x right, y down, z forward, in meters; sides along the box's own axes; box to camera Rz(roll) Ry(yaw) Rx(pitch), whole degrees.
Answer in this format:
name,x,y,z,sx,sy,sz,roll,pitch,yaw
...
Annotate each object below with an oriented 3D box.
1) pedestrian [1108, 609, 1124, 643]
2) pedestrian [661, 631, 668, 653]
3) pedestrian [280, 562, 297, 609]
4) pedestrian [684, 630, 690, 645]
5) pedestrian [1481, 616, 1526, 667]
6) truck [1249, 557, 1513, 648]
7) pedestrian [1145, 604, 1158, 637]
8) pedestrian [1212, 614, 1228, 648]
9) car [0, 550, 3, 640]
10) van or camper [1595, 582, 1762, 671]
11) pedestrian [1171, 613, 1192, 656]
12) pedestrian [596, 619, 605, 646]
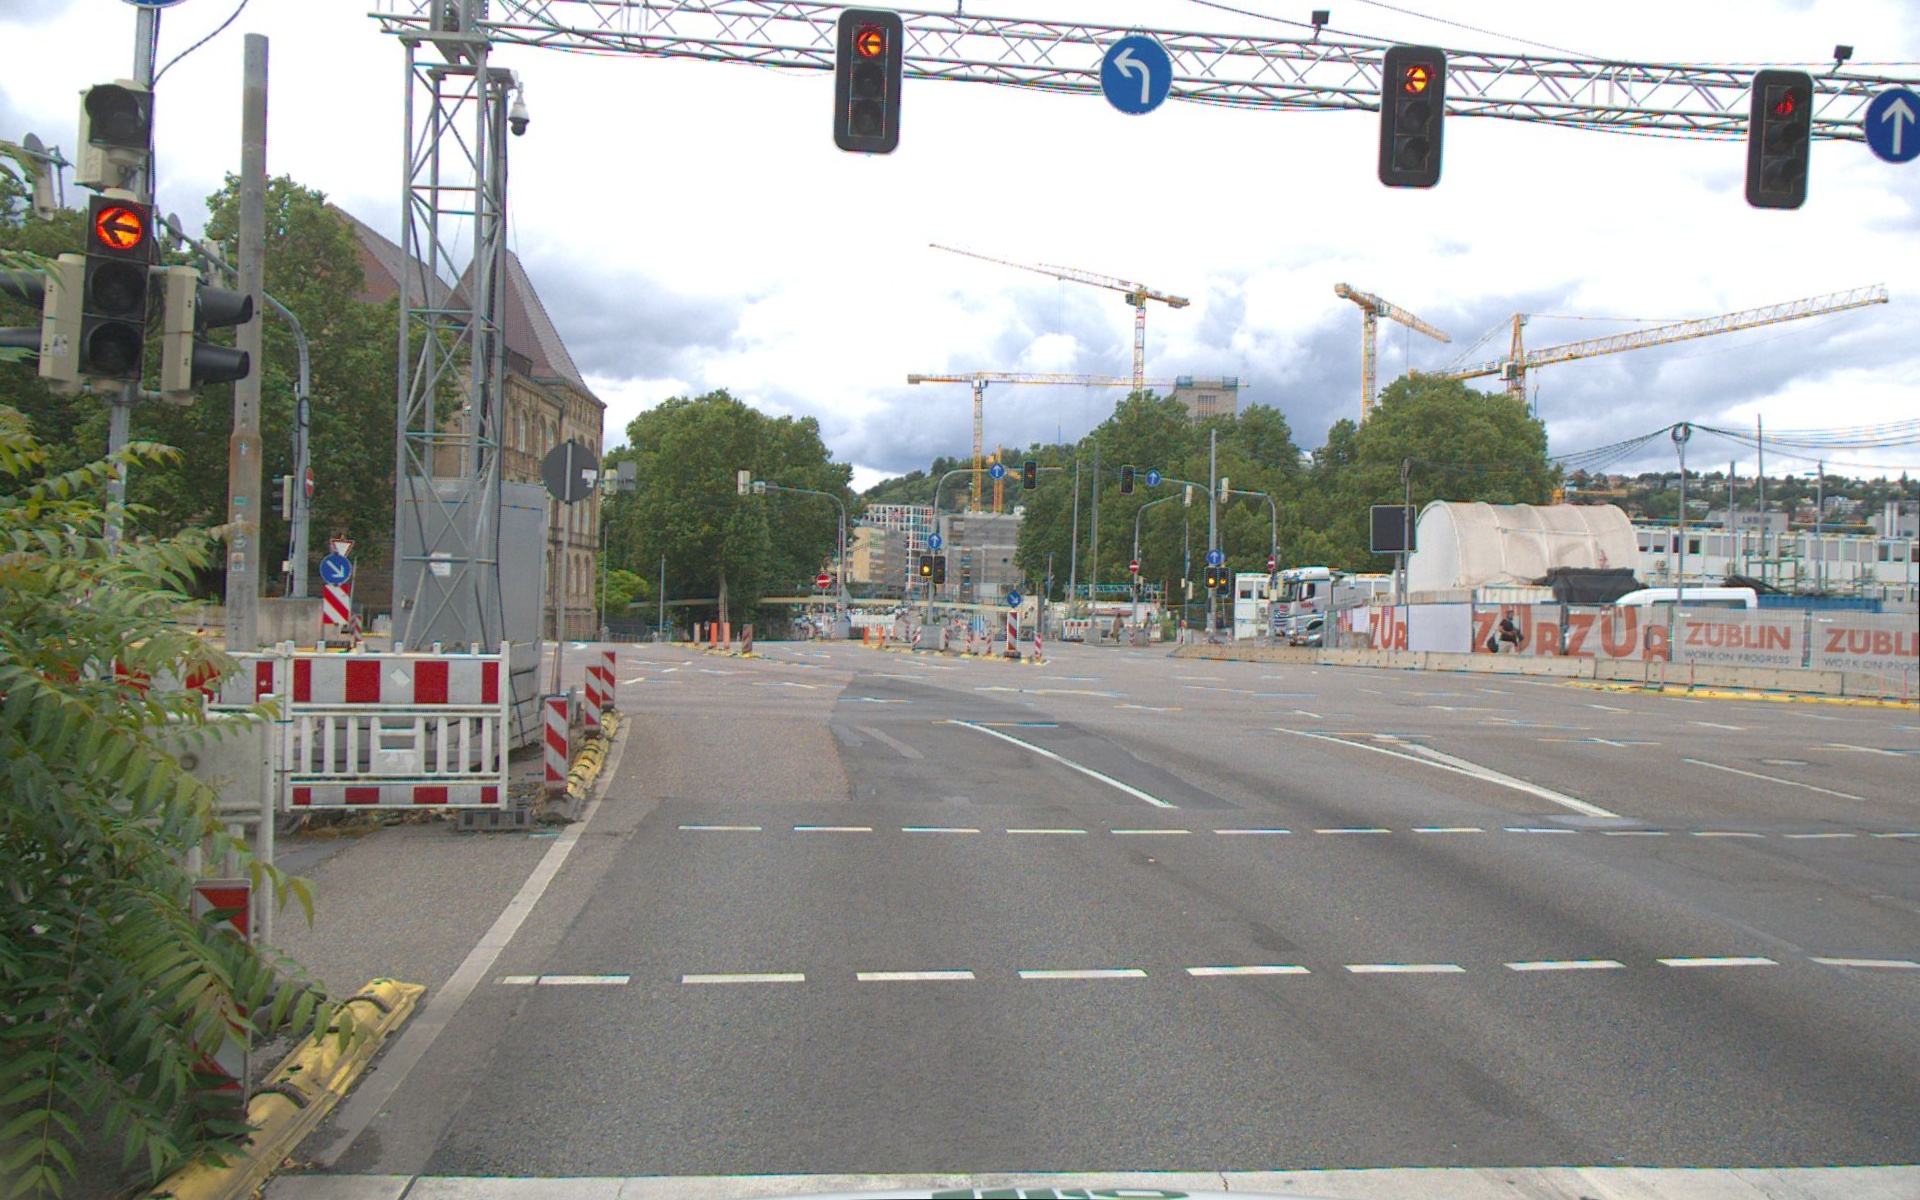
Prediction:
name,x,y,z,sx,sy,sz,roll,pitch,yaw
pedestrian,8.060,1.336,85.356,0.714,1.718,0.677,2,0,-1
pedestrian,-27.602,3.919,154.498,0.513,2.049,0.566,1,0,-1
pedestrian,-29.627,-0.627,72.978,0.523,2.049,0.421,2,0,-44
pedestrian,-29.617,4.077,179.393,0.525,1.620,0.515,1,0,-5
pedestrian,15.339,1.161,46.694,0.787,1.402,0.896,2,0,-29
truck,20.999,0.162,82.321,12.837,4.111,3.927,1,0,-21
pedestrian,10.017,1.080,86.499,0.555,1.718,0.471,2,0,-1
pedestrian,13.491,1.610,85.861,0.609,1.718,0.710,2,0,28
car,-19.702,-0.132,29.348,4.239,1.705,1.993,2,0,-14
van or camper,20.733,0.740,47.912,4.123,2.398,2.002,1,0,14
pedestrian,9.068,1.401,67.672,0.714,1.718,0.677,2,0,-1
pedestrian,-27.346,2.459,125.750,0.513,2.049,0.566,1,0,-1
